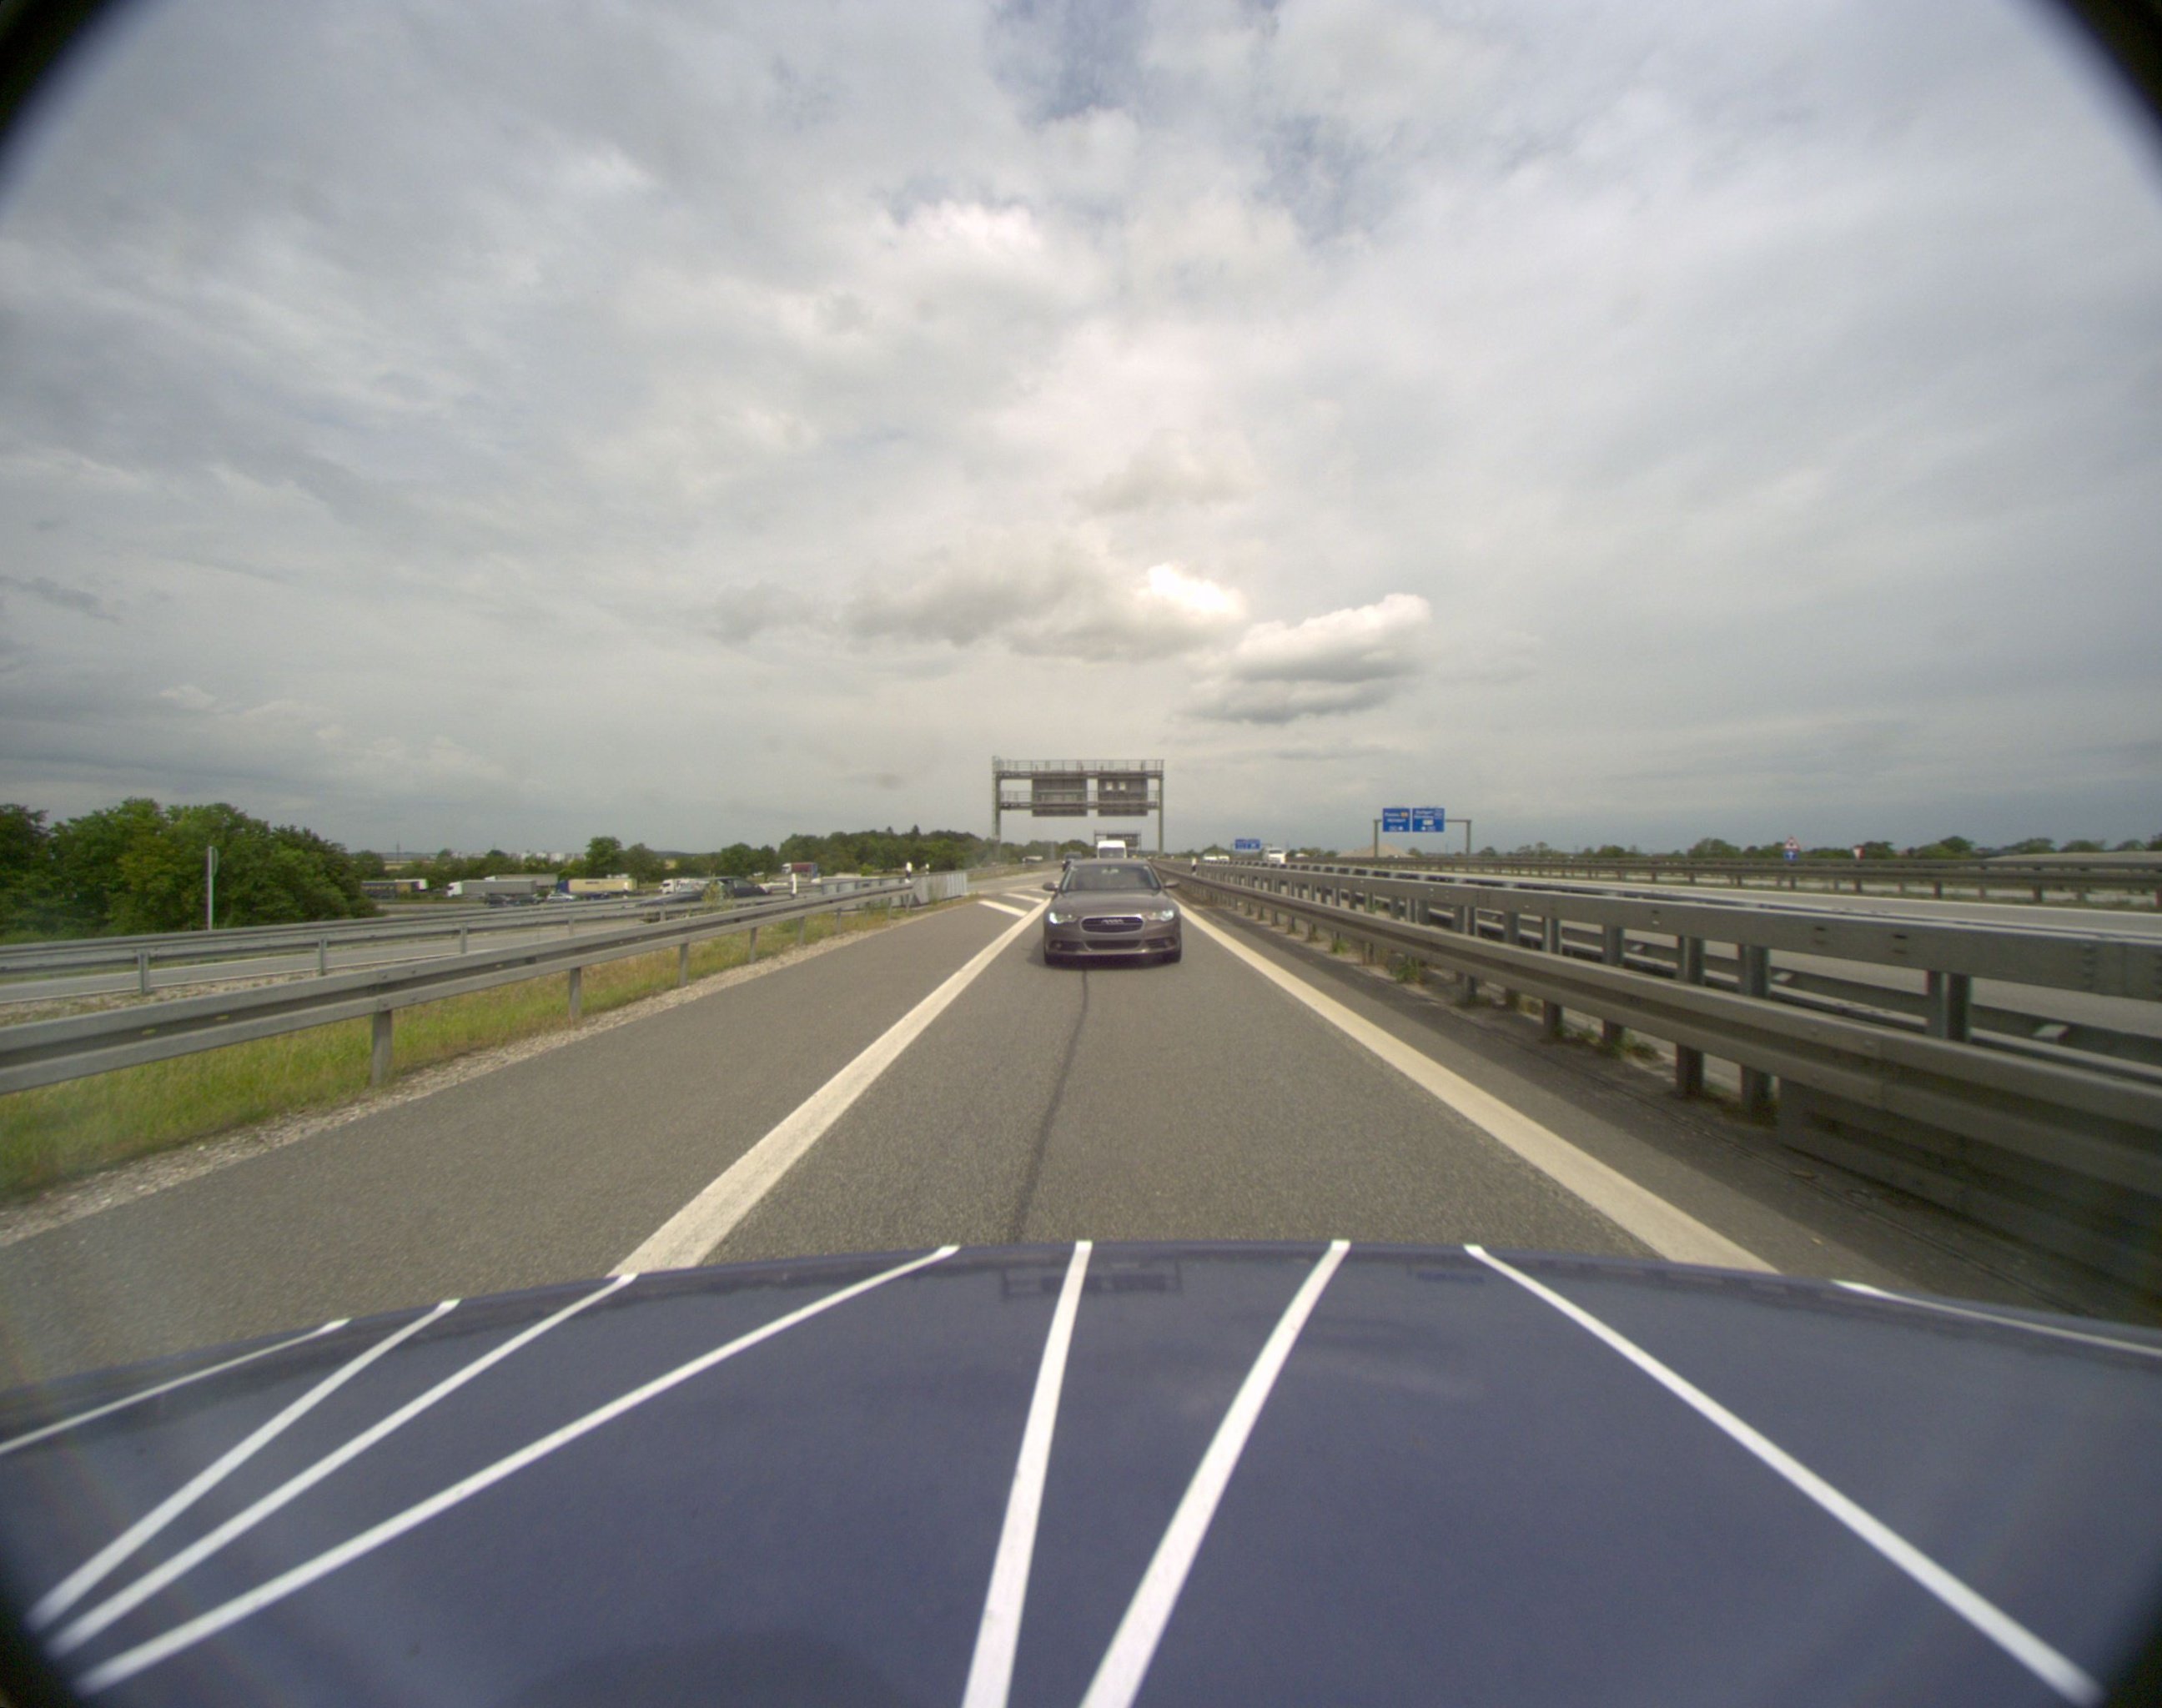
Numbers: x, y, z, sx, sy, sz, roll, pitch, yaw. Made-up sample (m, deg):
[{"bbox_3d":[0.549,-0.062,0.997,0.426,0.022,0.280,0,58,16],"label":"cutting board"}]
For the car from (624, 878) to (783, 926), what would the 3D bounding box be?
[{"bbox_3d":[-12.396,1.541,25.214,1.705,1.273,4.375,-2,-1,40],"label":"car"}]

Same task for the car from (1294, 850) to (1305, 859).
[{"bbox_3d":[60.754,0.155,211.730,1.998,2.292,4.492,-2,-1,4],"label":"car"}]

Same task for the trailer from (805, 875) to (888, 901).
[{"bbox_3d":[-43.065,6.244,140.253,14.251,4.075,2.987,-2,0,-11],"label":"trailer"}]

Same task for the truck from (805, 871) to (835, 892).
[{"bbox_3d":[-64.434,6.787,187.554,6.294,4.647,3.928,-2,1,-10],"label":"truck"}]

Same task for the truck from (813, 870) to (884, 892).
[{"bbox_3d":[-57.585,6.626,188.749,16.175,4.673,3.990,-2,1,-10],"label":"truck"}]

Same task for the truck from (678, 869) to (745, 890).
[{"bbox_3d":[-88.572,6.022,182.259,13.793,4.527,4.005,-2,0,-11],"label":"truck"}]

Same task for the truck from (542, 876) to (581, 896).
[{"bbox_3d":[-120.782,7.417,176.863,6.294,4.484,3.929,-2,0,-10],"label":"truck"}]

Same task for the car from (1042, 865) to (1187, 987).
[{"bbox_3d":[0.500,0.927,11.407,1.747,1.380,4.000,-2,0,2],"label":"car"}]

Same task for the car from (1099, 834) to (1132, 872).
[{"bbox_3d":[2.363,-0.036,52.885,2.119,2.439,6.153,-2,-1,2],"label":"car"}]

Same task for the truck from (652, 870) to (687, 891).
[{"bbox_3d":[-97.715,6.254,180.540,6.294,4.484,3.929,-2,0,-10],"label":"truck"}]

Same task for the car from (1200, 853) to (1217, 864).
[{"bbox_3d":[19.881,0.718,118.393,1.998,1.739,4.001,-2,-1,2],"label":"car"}]

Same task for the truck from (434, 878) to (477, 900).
[{"bbox_3d":[-141.793,7.939,172.364,6.294,4.484,3.929,-2,0,-10],"label":"truck"}]

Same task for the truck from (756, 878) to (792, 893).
[{"bbox_3d":[-73.008,7.422,180.701,7.568,3.178,2.230,-2,0,-10],"label":"truck"}]

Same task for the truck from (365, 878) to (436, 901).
[{"bbox_3d":[-171.878,8.921,192.191,13.025,5.010,3.942,-1,-1,-39],"label":"truck"}]

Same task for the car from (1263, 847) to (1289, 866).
[{"bbox_3d":[22.314,0.279,87.074,1.998,2.001,4.467,-2,-1,4],"label":"car"}]

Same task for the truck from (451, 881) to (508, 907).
[{"bbox_3d":[-102.494,6.782,129.495,6.422,3.968,3.857,-2,1,-13],"label":"truck"}]

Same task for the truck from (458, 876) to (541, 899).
[{"bbox_3d":[-132.937,7.641,173.856,14.886,4.527,4.005,-2,0,-9],"label":"truck"}]

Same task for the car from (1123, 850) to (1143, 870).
[{"bbox_3d":[5.133,0.566,75.430,1.845,1.870,4.290,-2,-1,4],"label":"car"}]

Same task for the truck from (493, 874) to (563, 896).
[{"bbox_3d":[-151.266,8.372,208.168,3.851,5.183,14.888,-2,-1,44],"label":"truck"}]

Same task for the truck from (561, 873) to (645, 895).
[{"bbox_3d":[-112.081,7.070,178.400,16.367,4.527,4.005,-2,0,-10],"label":"truck"}]

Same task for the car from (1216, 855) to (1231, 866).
[{"bbox_3d":[25.202,1.146,134.194,1.998,1.870,4.001,-2,-1,2],"label":"car"}]

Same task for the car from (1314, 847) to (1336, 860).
[{"bbox_3d":[38.081,-0.005,118.741,1.998,1.851,4.505,-5,0,4],"label":"car"}]

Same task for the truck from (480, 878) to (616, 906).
[{"bbox_3d":[-92.081,6.514,131.857,19.052,4.036,3.989,-2,1,-13],"label":"truck"}]

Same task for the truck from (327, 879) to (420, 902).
[{"bbox_3d":[-155.644,8.002,167.275,15.305,4.527,4.006,-2,0,-9],"label":"truck"}]

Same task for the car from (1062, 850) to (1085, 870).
[{"bbox_3d":[-0.701,0.561,72.920,1.929,1.761,4.001,-2,-1,2],"label":"car"}]
